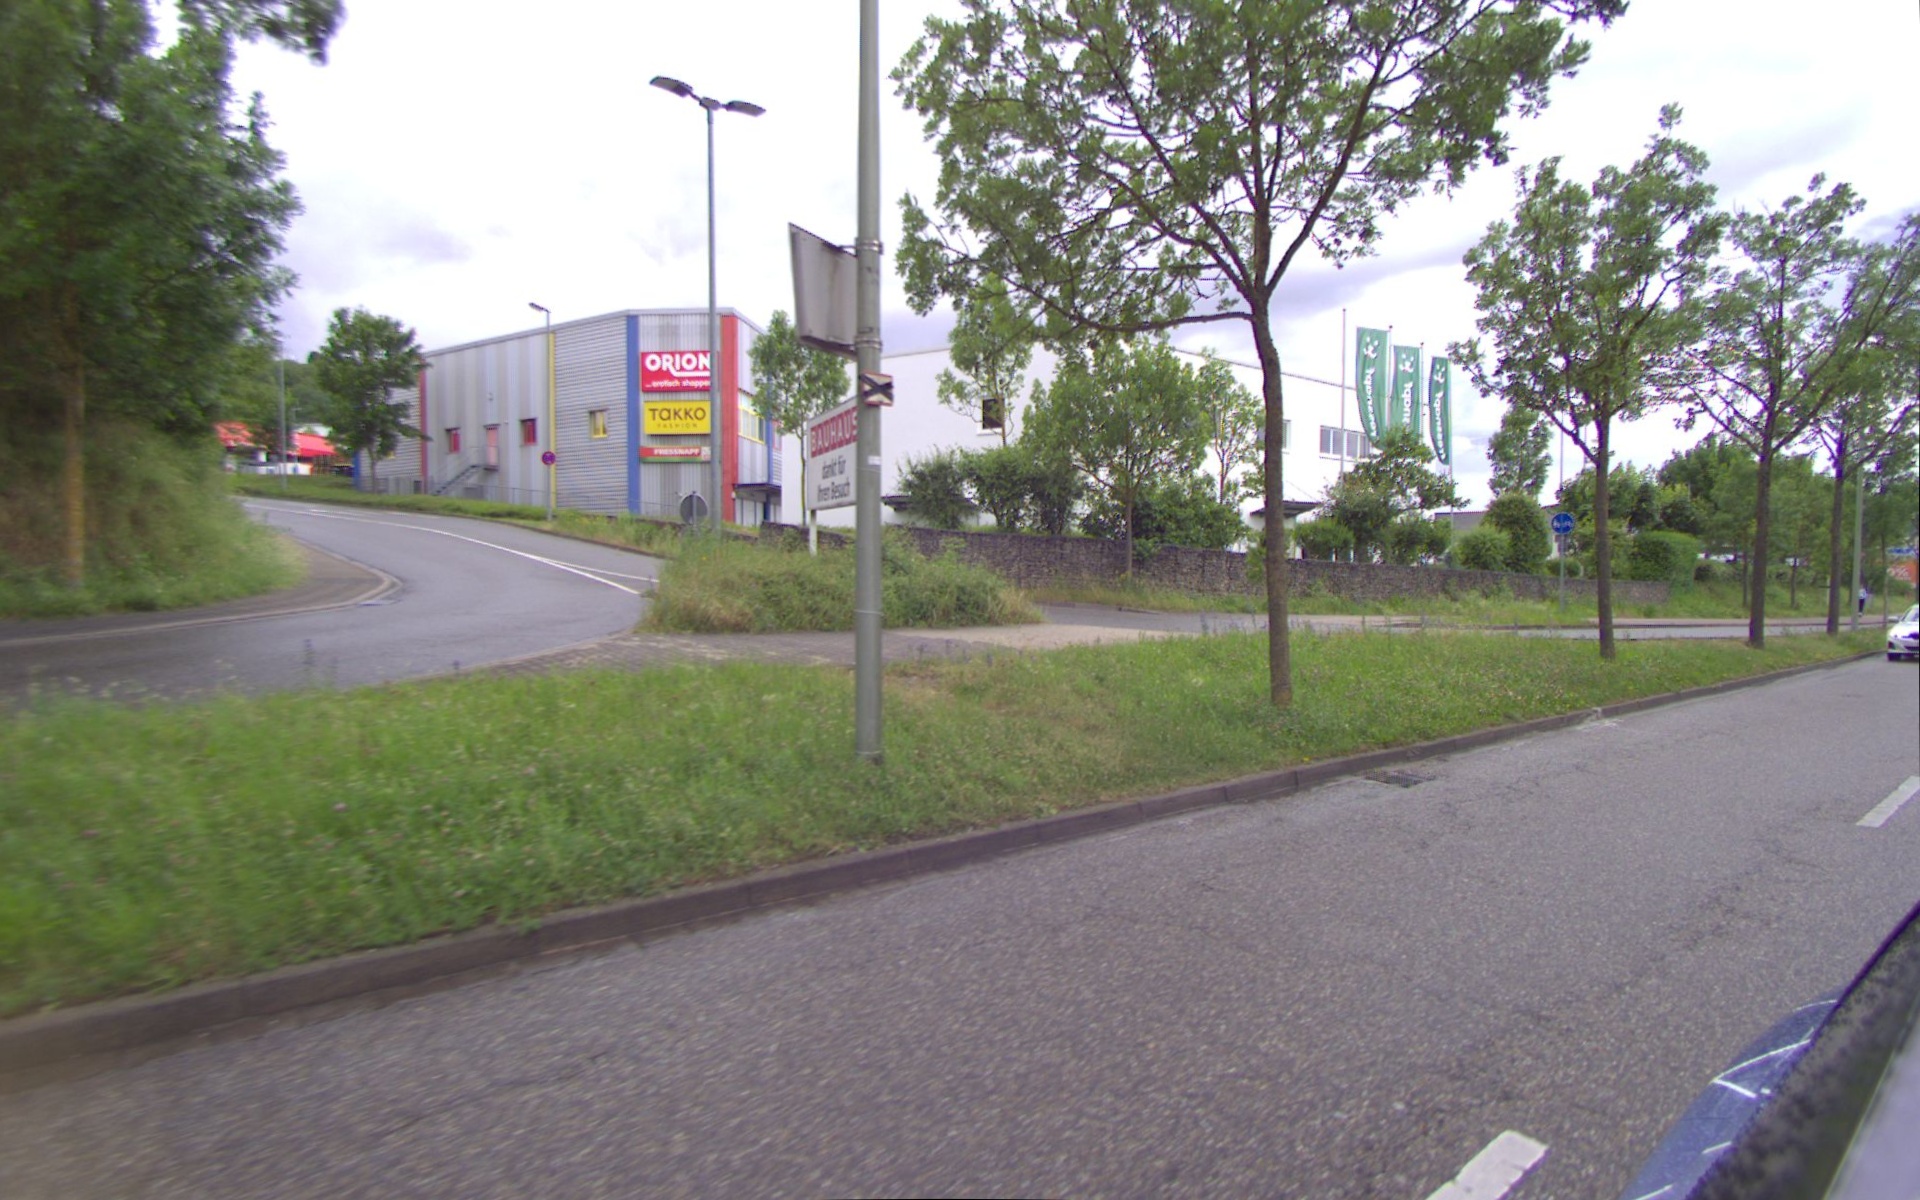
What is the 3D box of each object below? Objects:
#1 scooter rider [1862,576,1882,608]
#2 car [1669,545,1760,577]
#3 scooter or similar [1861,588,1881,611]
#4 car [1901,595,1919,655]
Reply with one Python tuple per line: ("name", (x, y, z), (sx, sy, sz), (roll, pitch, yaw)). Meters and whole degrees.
("scooter rider", (54.828, -0.474, 60.856), (0.843, 1.842, 0.696), (-1, 4, -41))
("car", (60.608, -3.168, 81.344), (5.609, 2.167, 2.090), (7, 6, 42))
("scooter or similar", (54.816, -0.041, 60.890), (1.376, 1.279, 0.696), (-1, 4, -42))
("car", (25.726, 0.618, 25.844), (4.459, 1.458, 1.808), (0, 2, -38))
